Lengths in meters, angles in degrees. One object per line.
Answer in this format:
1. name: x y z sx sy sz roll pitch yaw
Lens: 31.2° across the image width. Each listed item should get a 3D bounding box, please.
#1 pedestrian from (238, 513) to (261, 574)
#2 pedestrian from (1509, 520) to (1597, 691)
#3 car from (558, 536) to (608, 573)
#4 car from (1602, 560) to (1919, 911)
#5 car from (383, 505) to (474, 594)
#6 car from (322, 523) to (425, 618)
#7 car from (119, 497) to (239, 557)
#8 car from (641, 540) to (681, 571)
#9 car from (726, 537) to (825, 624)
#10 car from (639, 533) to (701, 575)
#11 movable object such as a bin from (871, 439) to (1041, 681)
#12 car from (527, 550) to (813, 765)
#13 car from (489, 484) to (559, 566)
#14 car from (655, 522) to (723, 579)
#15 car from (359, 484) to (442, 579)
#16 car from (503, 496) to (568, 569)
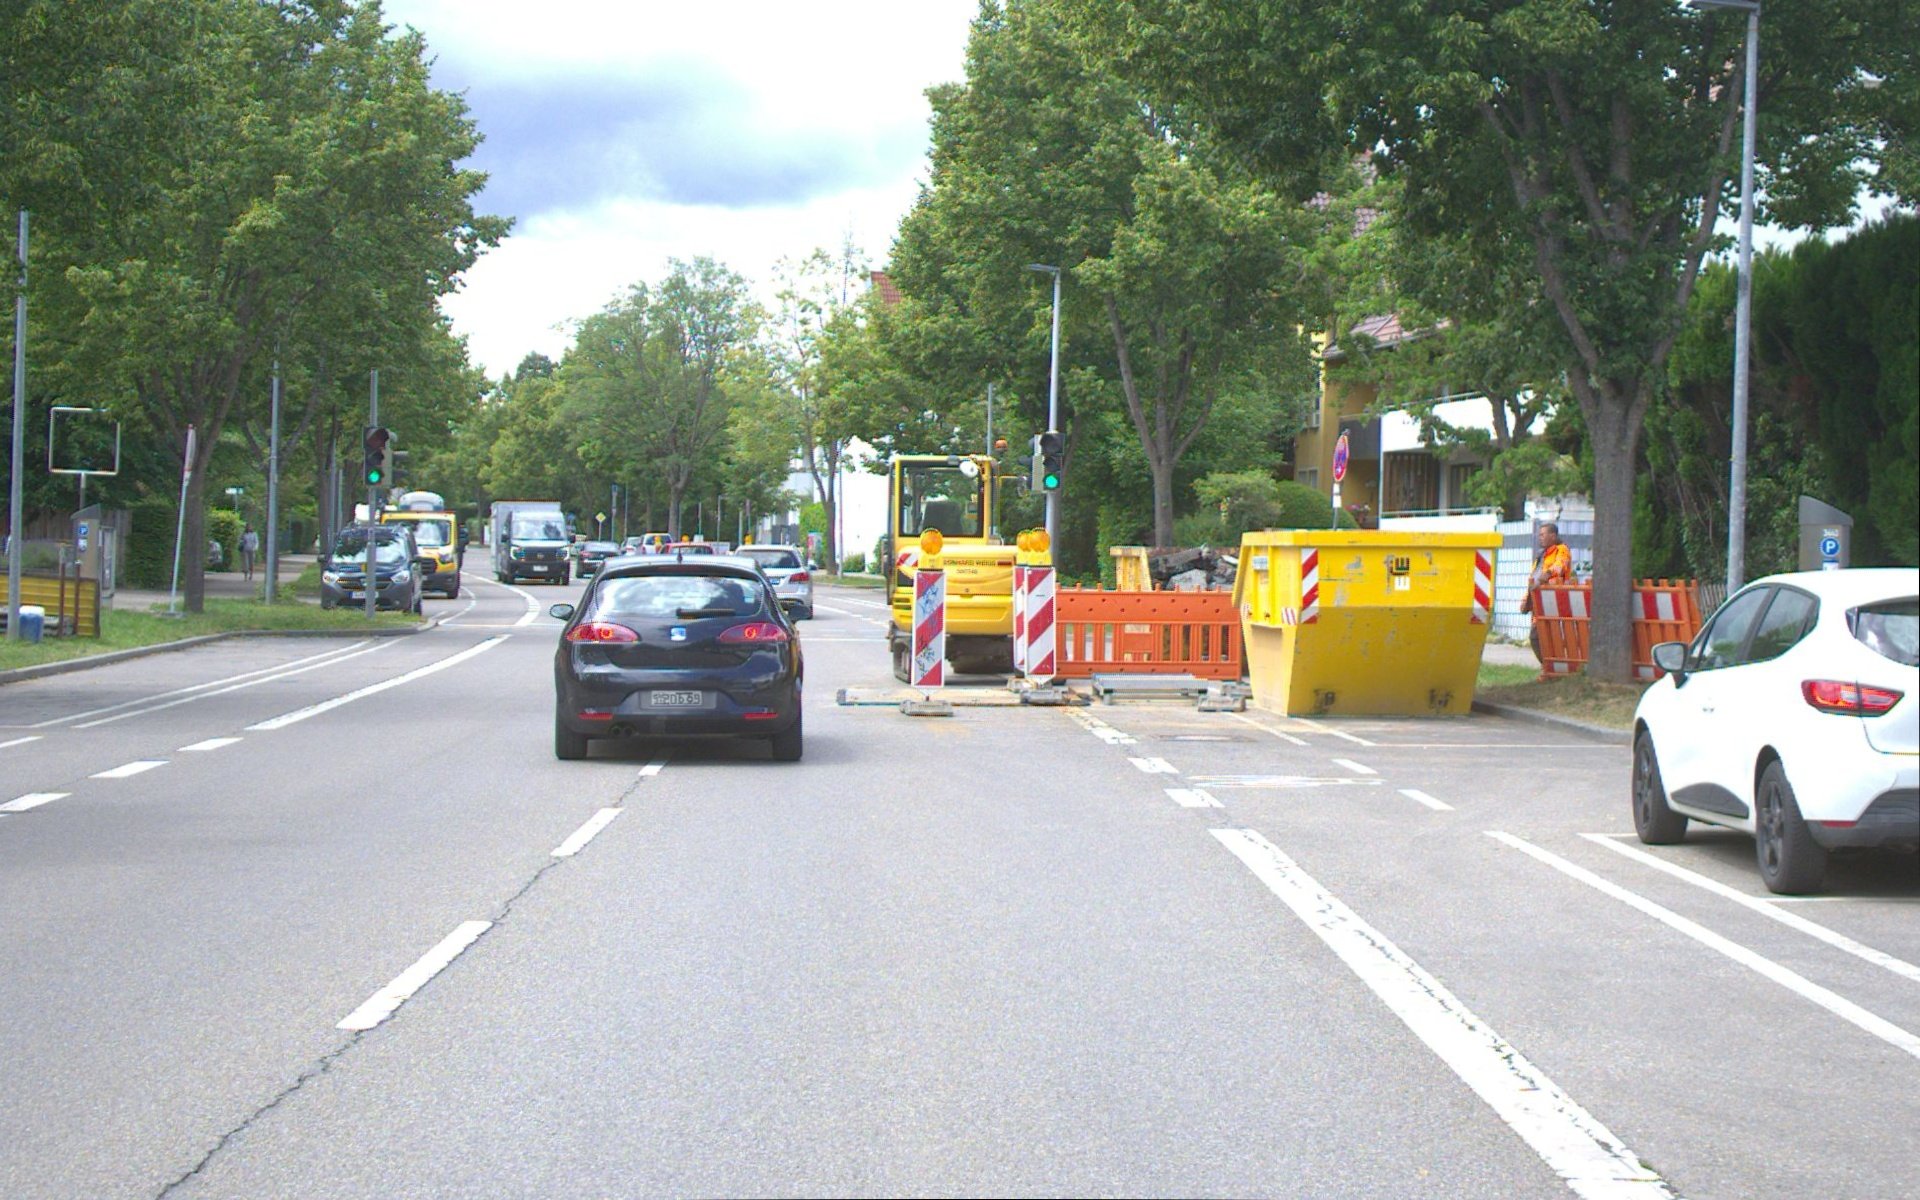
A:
1. pedestrian: -20.568 -1.633 99.521 0.595 1.735 0.574 1 1 -7
2. pedestrian: 5.738 0.049 33.292 0.704 1.628 0.643 1 1 -1
3. car: -14.293 -1.728 130.261 1.809 1.370 3.694 1 1 -7
4. car: 4.349 0.557 16.548 1.672 1.457 4.000 1 1 -1
5. car: -13.540 -1.303 87.731 2.092 2.167 5.046 1 1 -7
6. car: -11.200 -0.591 65.883 1.667 1.766 4.469 0 1 -6
7. car: -25.767 -2.393 113.454 3.682 1.920 1.679 1 1 -7
8. car: -14.062 -2.104 161.781 1.809 1.410 3.694 1 1 -4
9. car: -3.723 -0.419 68.911 1.905 1.680 3.740 0 1 -4
10. car: -10.159 -1.619 120.329 1.809 1.410 3.694 1 1 -10
11. movable object such as a bin: -0.070 -0.462 38.714 1.768 2.565 3.740 1 1 -1
12. car: -2.041 0.364 25.111 1.819 1.433 3.740 0 1 -1
13. car: -15.169 -2.607 120.004 2.287 2.782 7.145 0 1 -6
14. car: -7.826 -1.432 99.050 1.790 1.617 3.741 0 1 -7
15. car: -15.960 -1.967 98.261 2.092 2.617 5.046 1 1 -7
16. car: -14.030 -2.241 113.875 2.028 2.376 5.263 0 1 -6
